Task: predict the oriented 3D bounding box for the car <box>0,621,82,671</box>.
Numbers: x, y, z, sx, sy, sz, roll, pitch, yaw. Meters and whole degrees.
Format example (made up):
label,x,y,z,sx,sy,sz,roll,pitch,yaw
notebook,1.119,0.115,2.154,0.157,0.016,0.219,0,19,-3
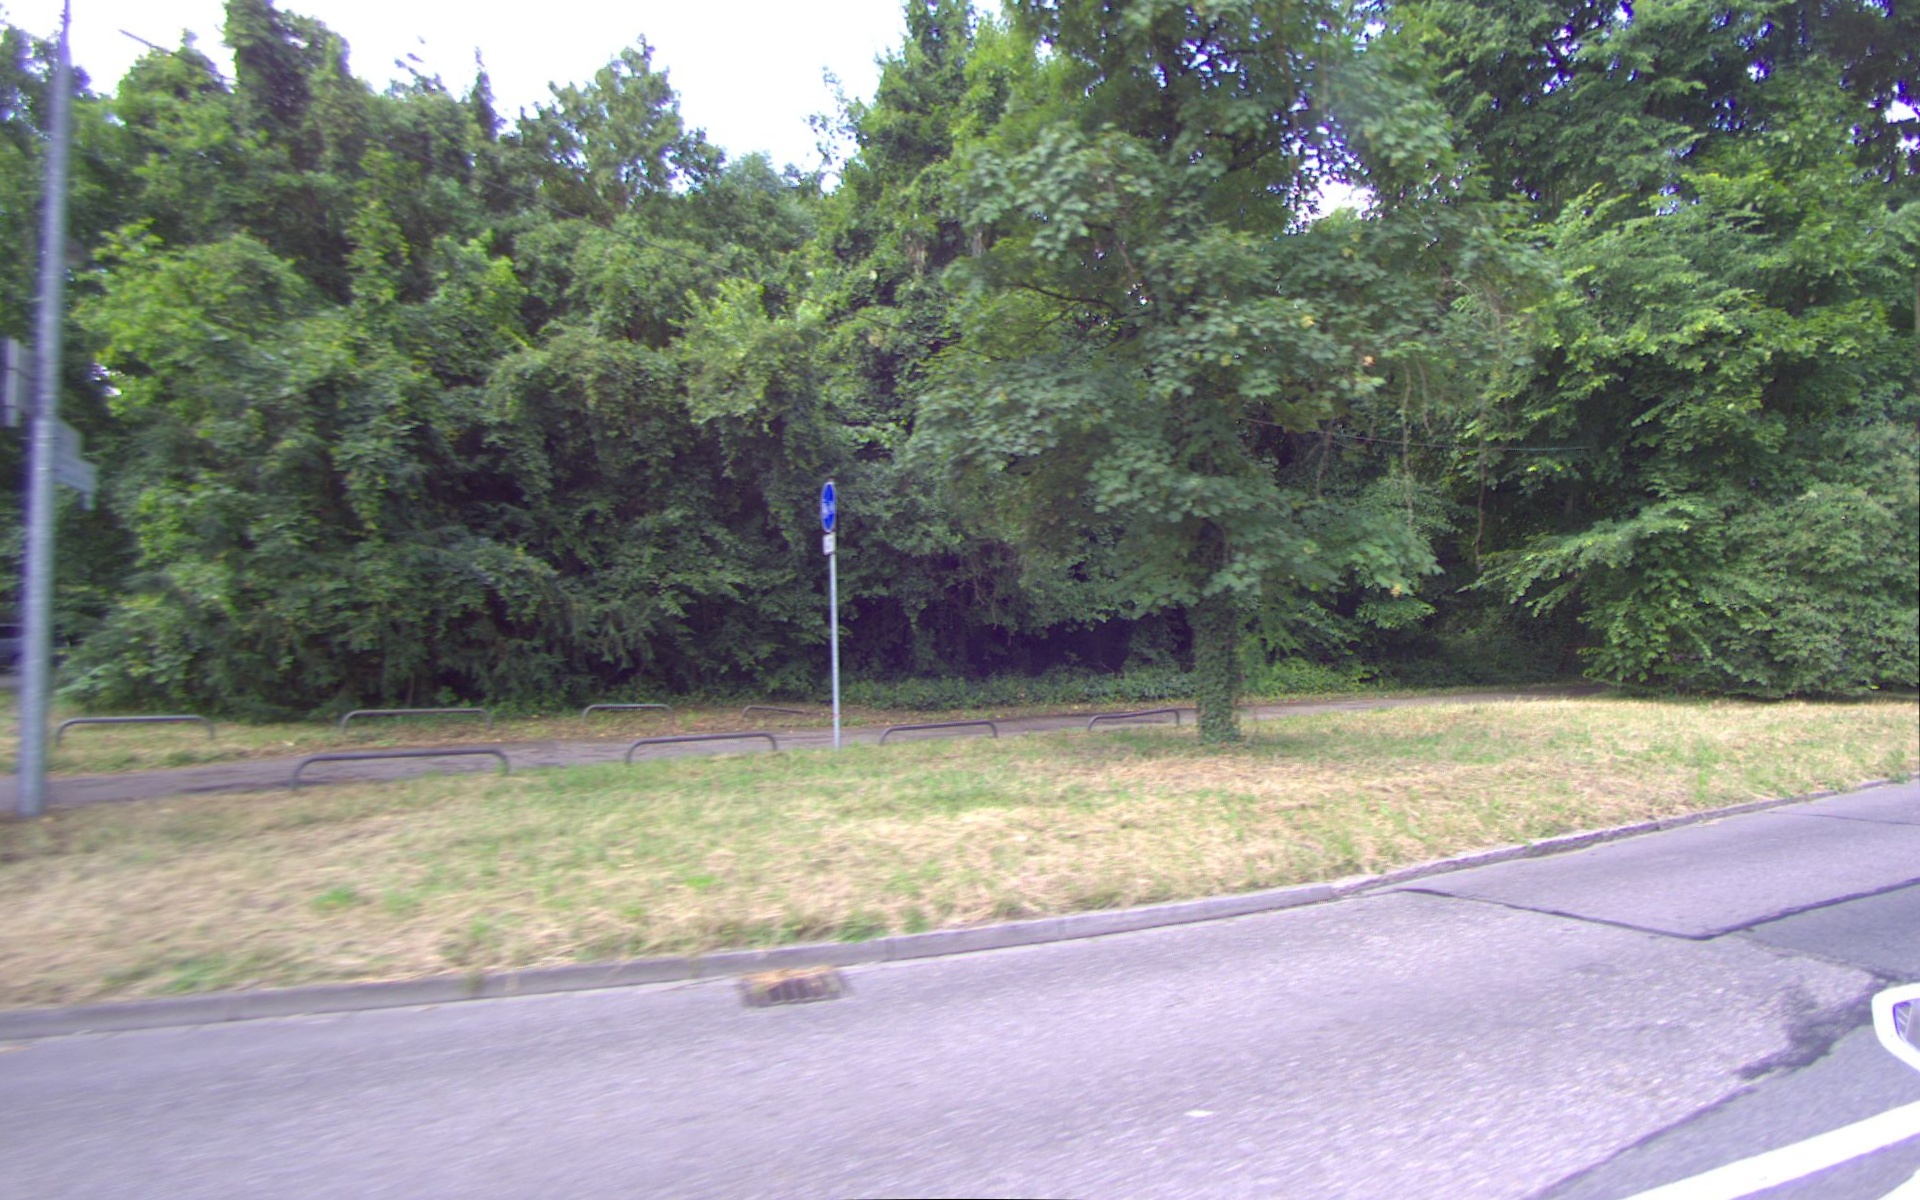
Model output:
label,x,y,z,sx,sy,sz,roll,pitch,yaw
car,-31.252,1.469,32.026,4.457,1.561,1.920,1,-3,-25
